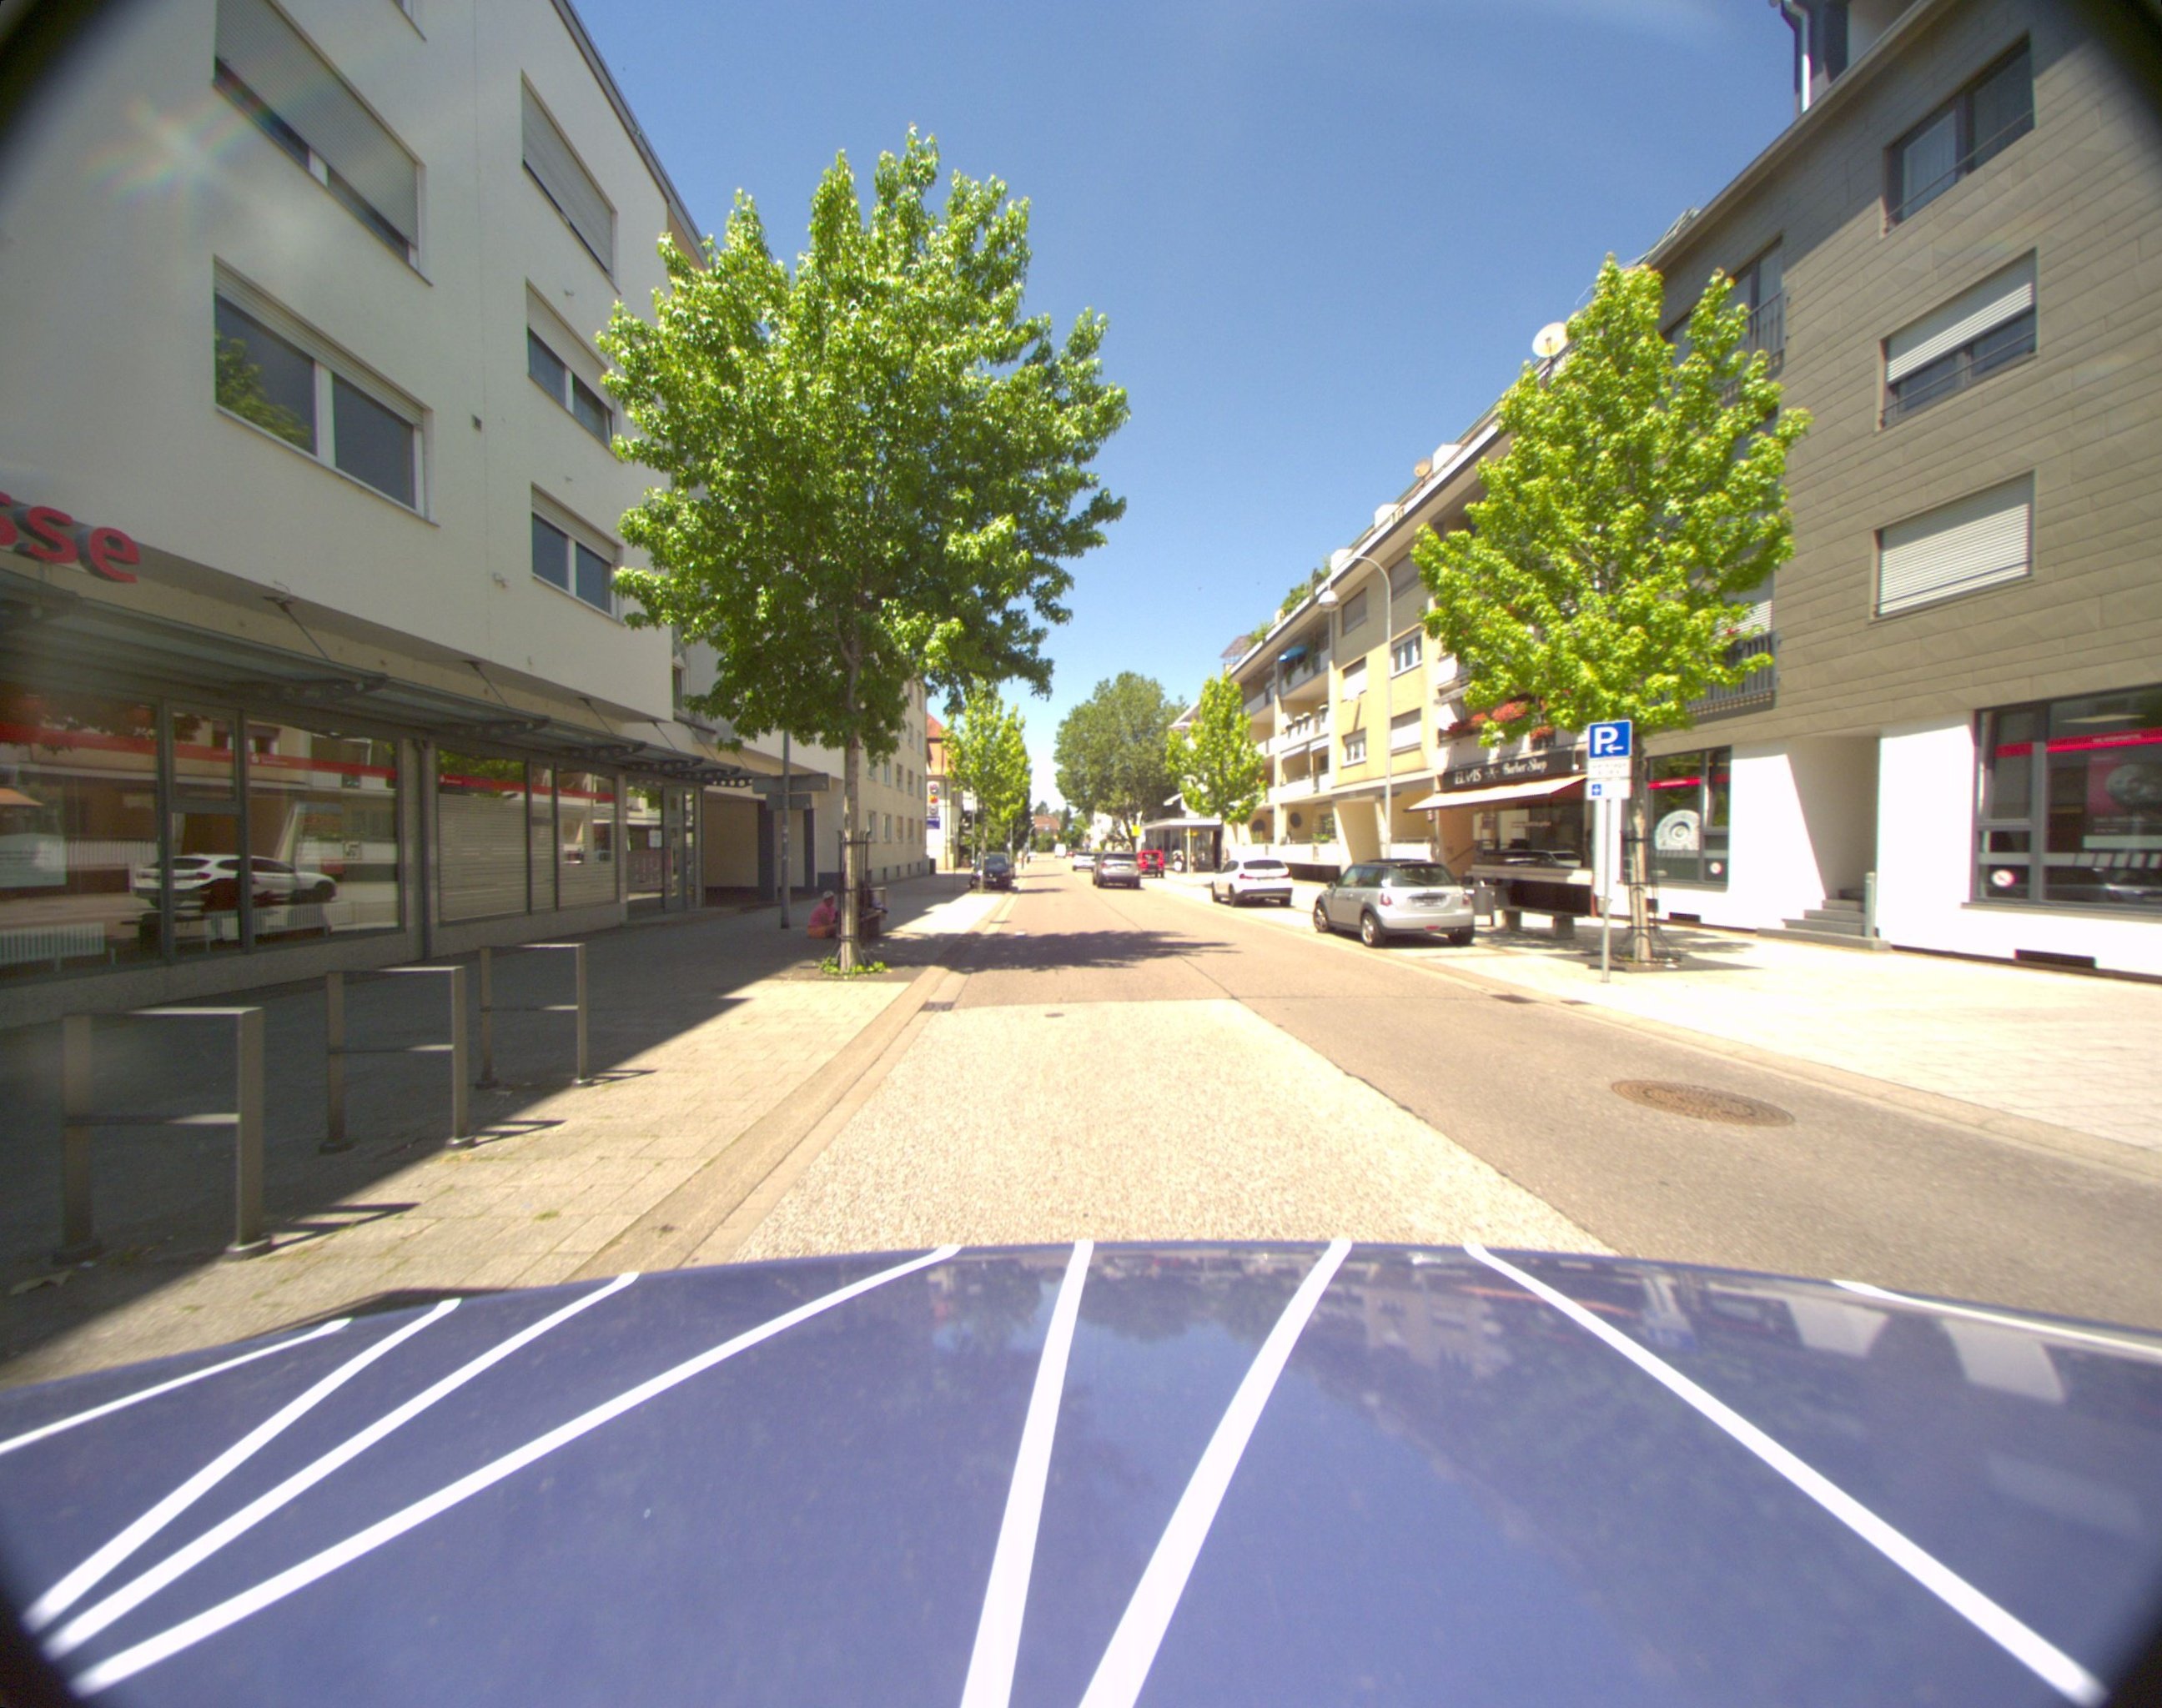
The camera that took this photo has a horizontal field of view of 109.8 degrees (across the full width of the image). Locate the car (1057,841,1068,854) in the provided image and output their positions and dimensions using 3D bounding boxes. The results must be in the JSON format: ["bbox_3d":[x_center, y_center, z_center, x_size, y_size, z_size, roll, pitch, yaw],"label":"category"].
[{"bbox_3d":[-3.635,-1.259,148.481,2.232,2.452,5.247,0,1,-2],"label":"car"}]

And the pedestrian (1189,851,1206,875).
[{"bbox_3d":[7.208,0.569,47.040,0.780,1.490,0.695,0,1,-28],"label":"pedestrian"}]

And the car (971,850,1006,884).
[{"bbox_3d":[-4.899,0.625,40.644,1.693,1.712,4.131,0,0,-5],"label":"car"}]

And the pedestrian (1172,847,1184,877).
[{"bbox_3d":[5.937,0.487,46.442,0.667,1.794,0.686,0,1,12],"label":"pedestrian"}]

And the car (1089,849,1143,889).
[{"bbox_3d":[1.593,0.645,36.086,1.906,1.744,4.754,1,0,-5],"label":"car"}]

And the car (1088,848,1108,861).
[{"bbox_3d":[1.879,0.040,85.648,1.999,1.499,3.999,0,0,-2],"label":"car"}]

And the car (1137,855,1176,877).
[{"bbox_3d":[5.247,0.808,53.559,1.999,1.455,3.998,-1,0,-5],"label":"car"}]

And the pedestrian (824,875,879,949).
[{"bbox_3d":[-3.989,0.989,13.224,0.761,1.233,0.538,1,1,12],"label":"pedestrian"}]

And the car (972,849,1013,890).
[{"bbox_3d":[-4.030,0.651,34.873,1.694,1.712,3.997,2,0,-6],"label":"car"}]

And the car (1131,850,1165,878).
[{"bbox_3d":[4.166,0.588,47.511,1.645,1.652,3.369,-2,1,-2],"label":"car"}]

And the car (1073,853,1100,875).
[{"bbox_3d":[0.402,0.763,60.322,1.776,1.623,4.298,0,0,-4],"label":"car"}]

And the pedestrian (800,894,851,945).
[{"bbox_3d":[-4.611,1.173,13.734,0.679,0.847,0.538,1,1,12],"label":"pedestrian"}]

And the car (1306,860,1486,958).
[{"bbox_3d":[5.428,0.871,13.580,1.626,1.465,3.547,0,1,-2],"label":"car"}]

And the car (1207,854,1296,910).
[{"bbox_3d":[5.314,0.816,24.164,1.699,1.583,4.298,-1,0,-2],"label":"car"}]
